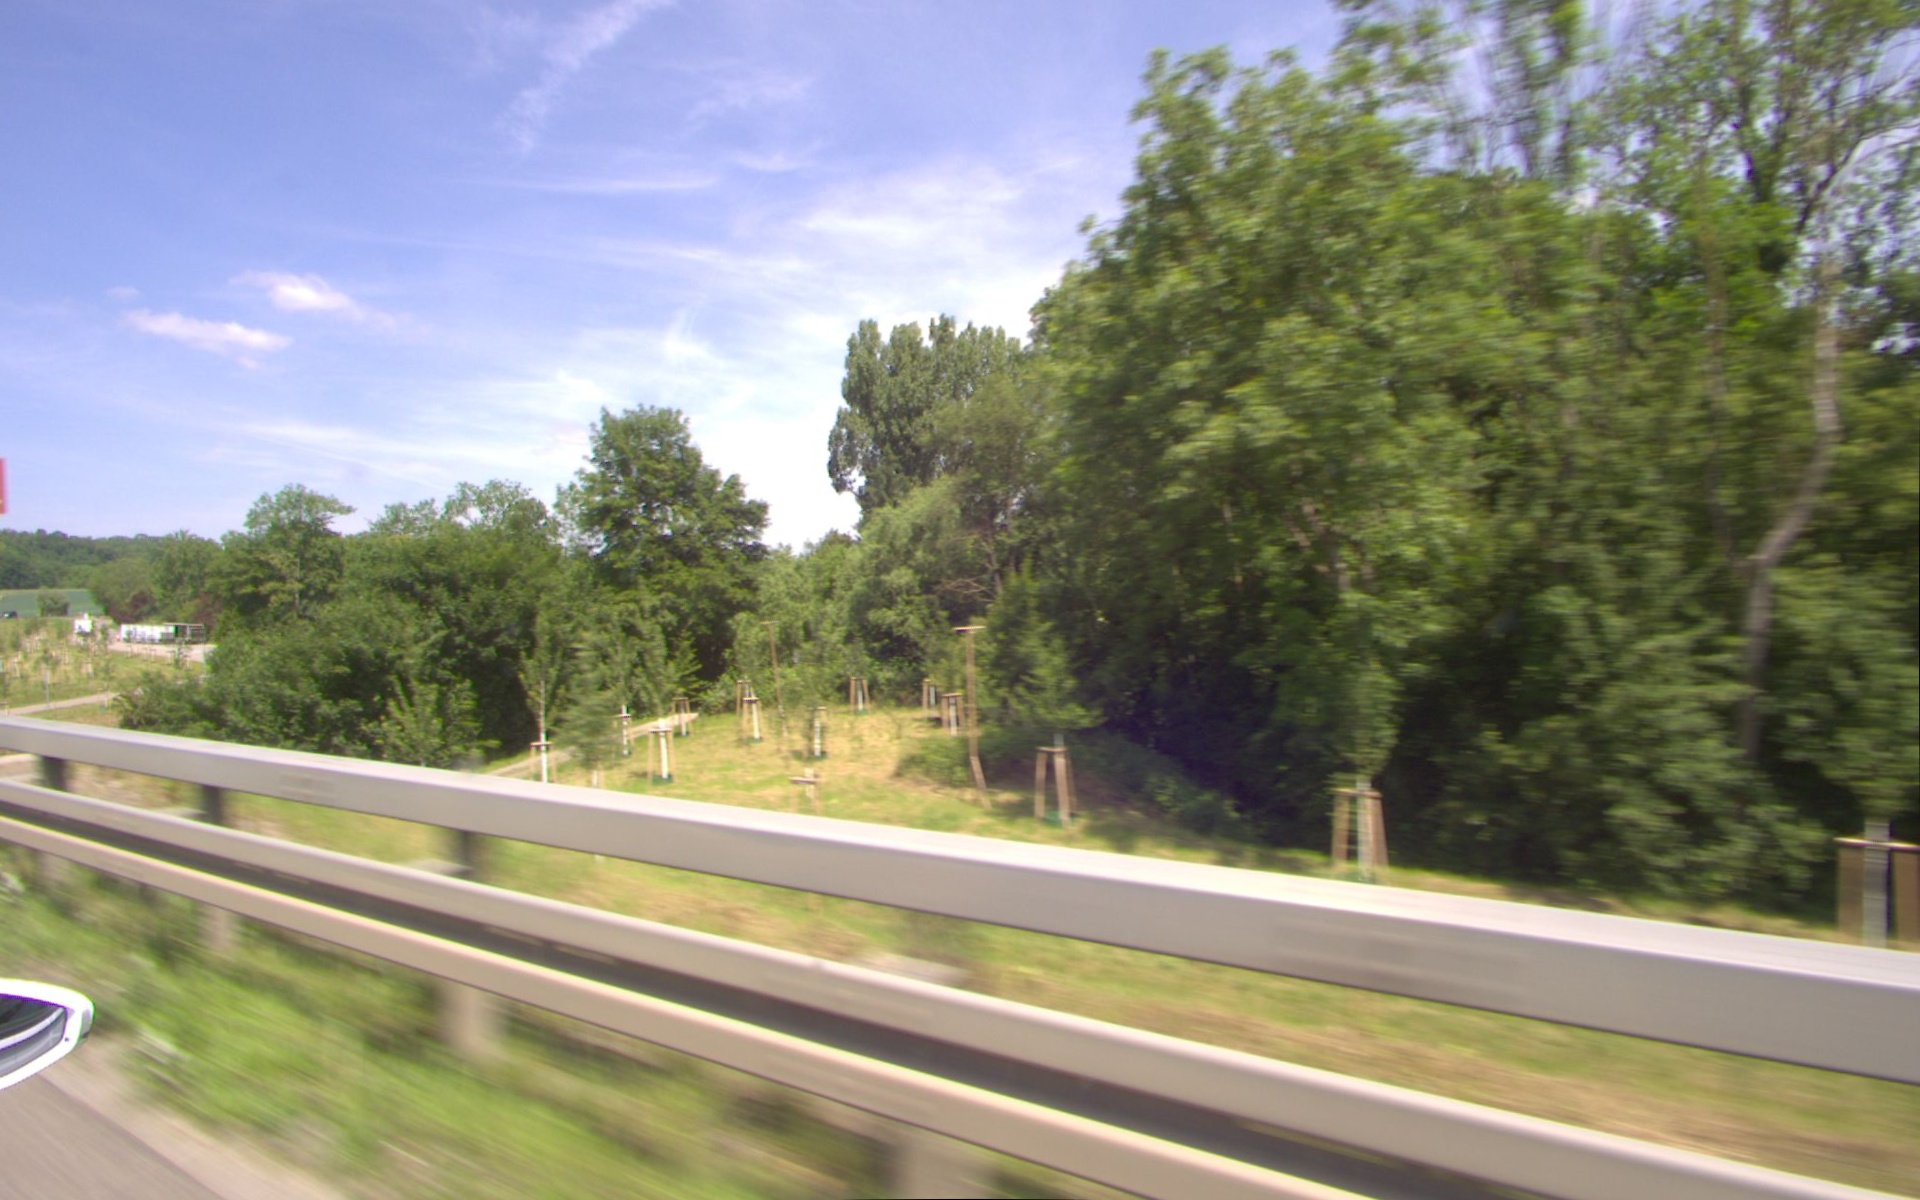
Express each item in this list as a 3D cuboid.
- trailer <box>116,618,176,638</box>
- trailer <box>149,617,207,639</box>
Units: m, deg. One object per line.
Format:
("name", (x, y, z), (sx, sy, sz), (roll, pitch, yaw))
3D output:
("trailer", (-143.394, 4.917, 176.341), (11.689, 3.371, 2.721), (1, 0, 21))
("trailer", (-138.904, 4.885, 177.778), (11.694, 3.653, 2.721), (1, -1, 23))
